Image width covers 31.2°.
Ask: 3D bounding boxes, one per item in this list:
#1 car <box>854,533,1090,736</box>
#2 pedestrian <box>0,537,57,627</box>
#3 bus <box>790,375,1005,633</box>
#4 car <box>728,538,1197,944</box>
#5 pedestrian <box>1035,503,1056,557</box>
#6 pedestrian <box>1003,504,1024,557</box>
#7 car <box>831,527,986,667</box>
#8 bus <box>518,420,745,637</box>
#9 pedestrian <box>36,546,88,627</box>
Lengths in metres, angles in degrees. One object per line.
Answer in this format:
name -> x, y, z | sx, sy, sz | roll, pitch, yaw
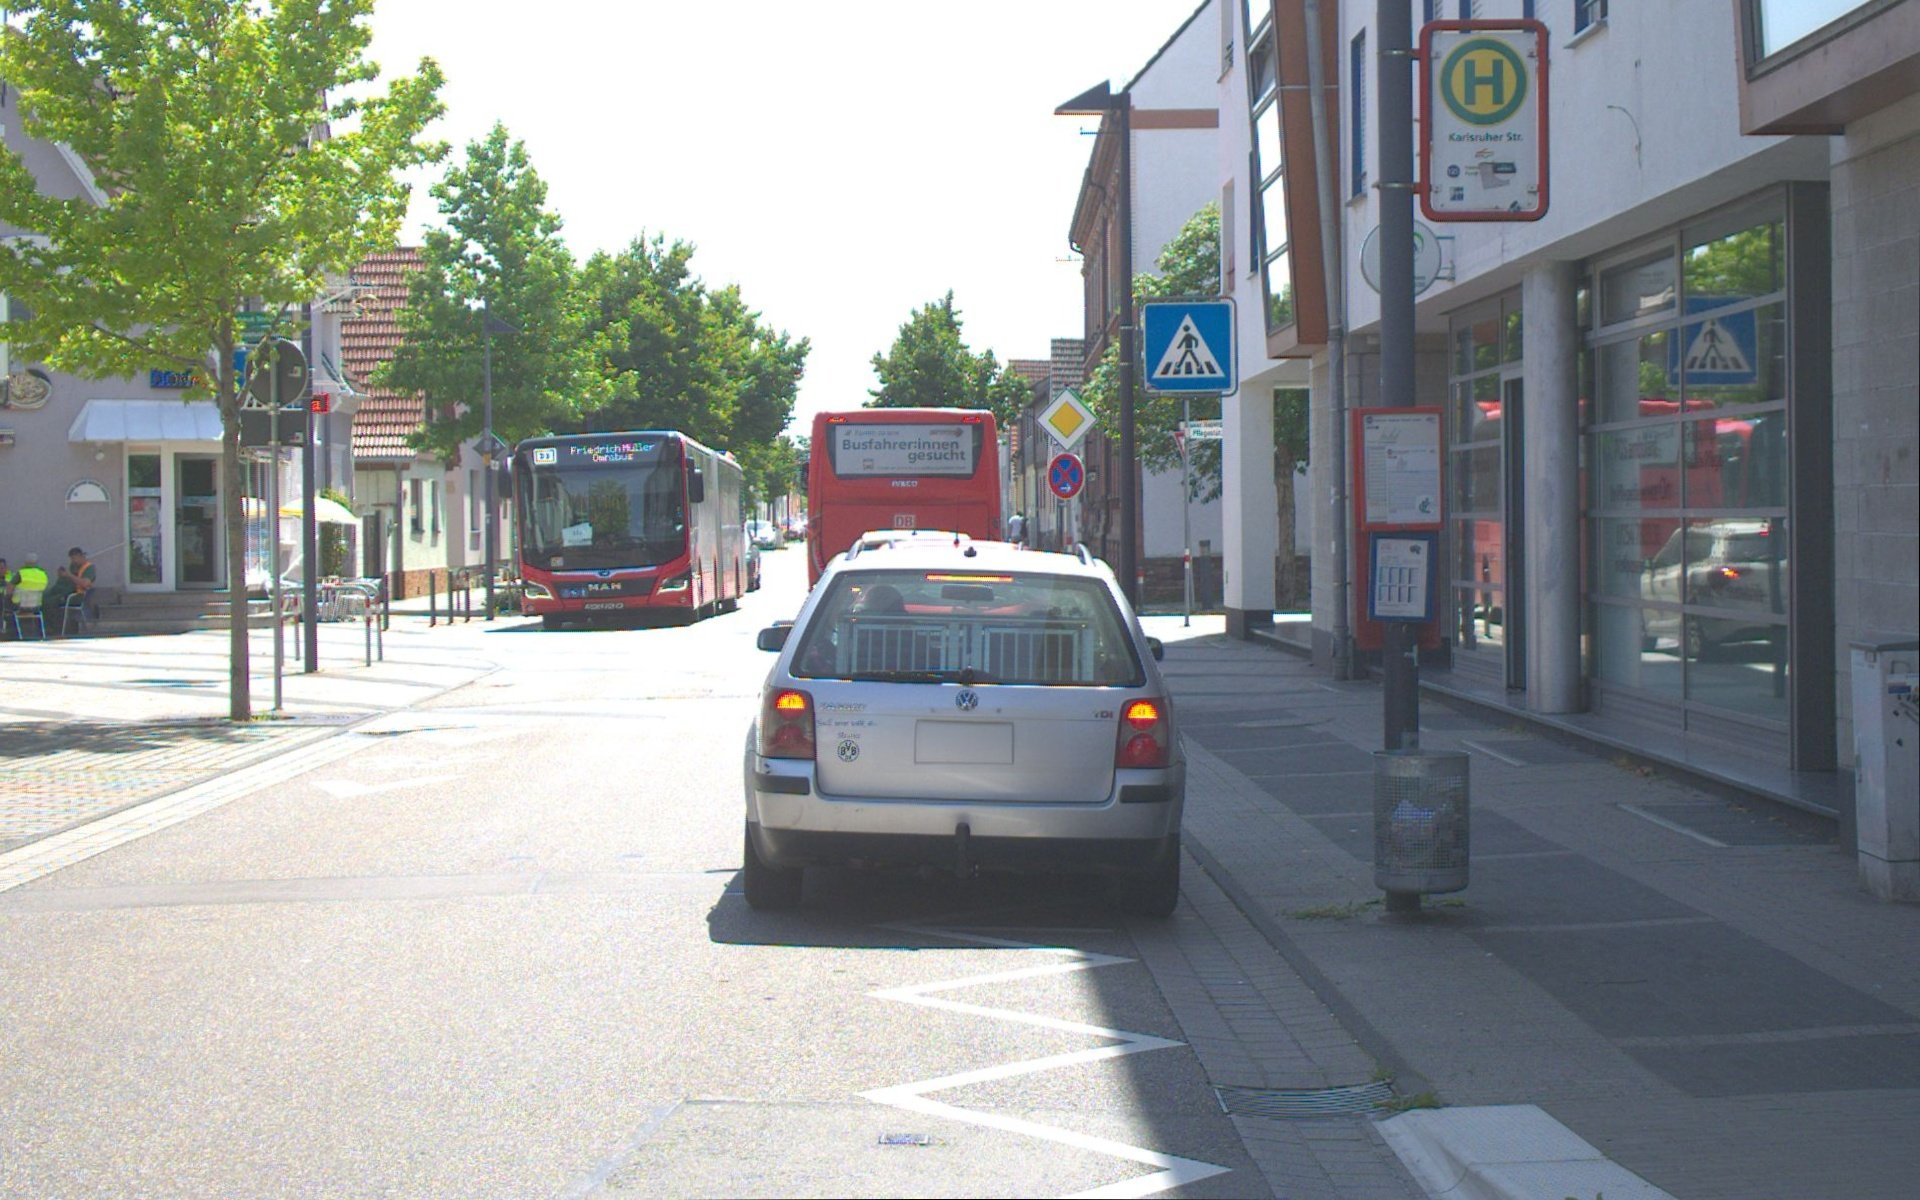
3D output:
car -> 0.045, 0.213, 26.433 | 1.677, 1.425, 3.680 | 0, 1, -1
pedestrian -> -13.655, -0.261, 50.038 | 0.634, 1.284, 0.789 | 1, 1, -44
bus -> -1.084, -1.347, 50.353 | 2.740, 3.287, 12.707 | 0, 1, -3
car -> -0.029, 0.487, 14.435 | 1.677, 1.425, 3.680 | 2, 1, -1
pedestrian -> 2.653, -2.184, 106.950 | 0.606, 1.661, 0.789 | 0, 1, -2
pedestrian -> 1.685, -2.204, 108.502 | 0.606, 1.661, 0.789 | 0, 1, -2
car -> -0.540, -0.072, 37.466 | 1.593, 1.425, 3.680 | 1, 1, 0
bus -> -5.386, -1.252, 59.481 | 2.668, 3.113, 17.809 | -2, 1, -2
pedestrian -> -13.333, -0.203, 51.067 | 0.622, 1.175, 0.697 | 0, 1, -5
